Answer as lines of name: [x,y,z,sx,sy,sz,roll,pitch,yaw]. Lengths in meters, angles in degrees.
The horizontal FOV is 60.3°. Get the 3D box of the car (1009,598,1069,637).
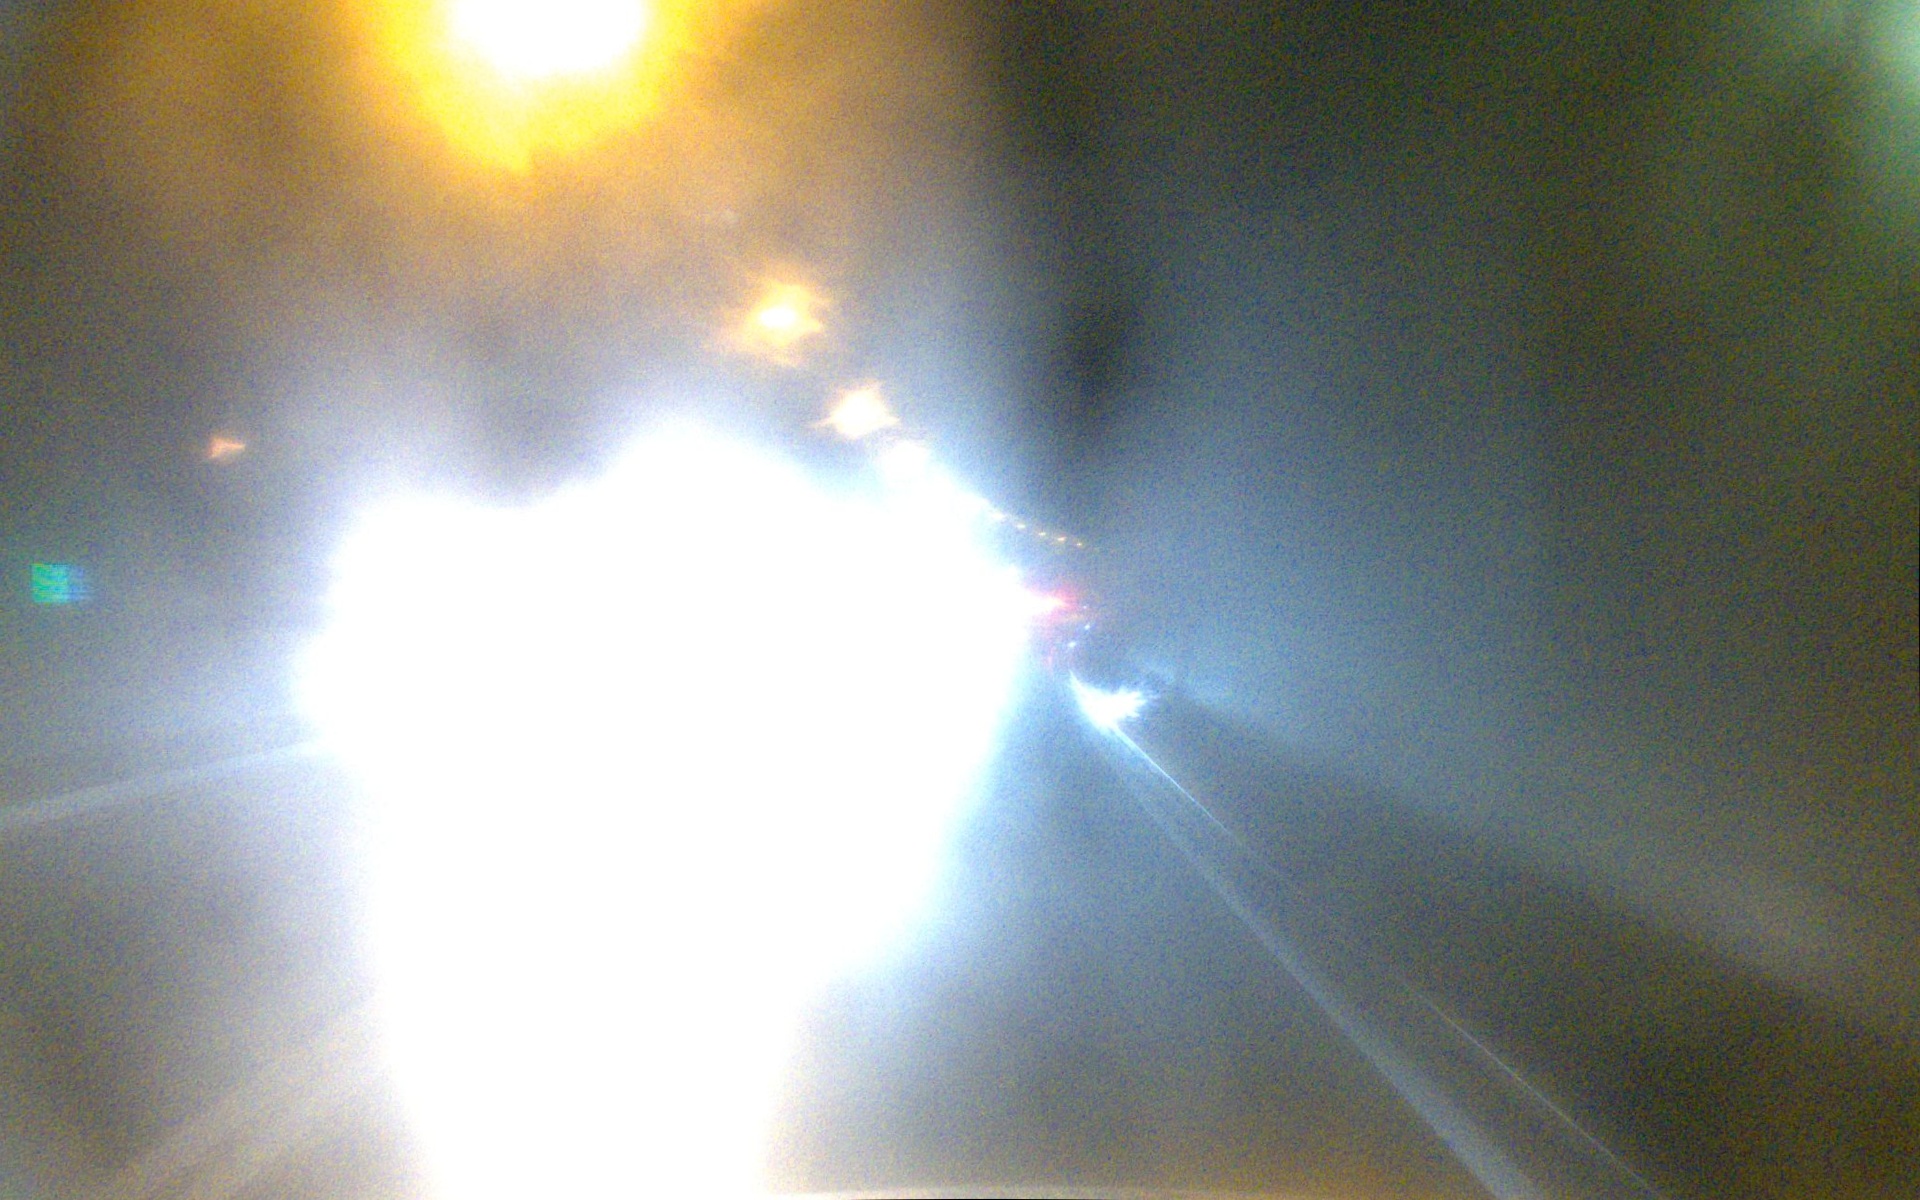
car: [3.639,0.793,75.464,2.045,1.691,4.003,1,-1,13]

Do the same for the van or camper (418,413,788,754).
van or camper: [-3.460,-0.132,17.760,2.364,2.933,6.679,1,0,1]

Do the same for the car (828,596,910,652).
car: [-2.422,0.620,45.219,1.796,1.407,4.647,1,0,2]

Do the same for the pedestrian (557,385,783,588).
pedestrian: [-3.241,-1.203,19.303,1.953,2.049,3.999,1,0,-1]
